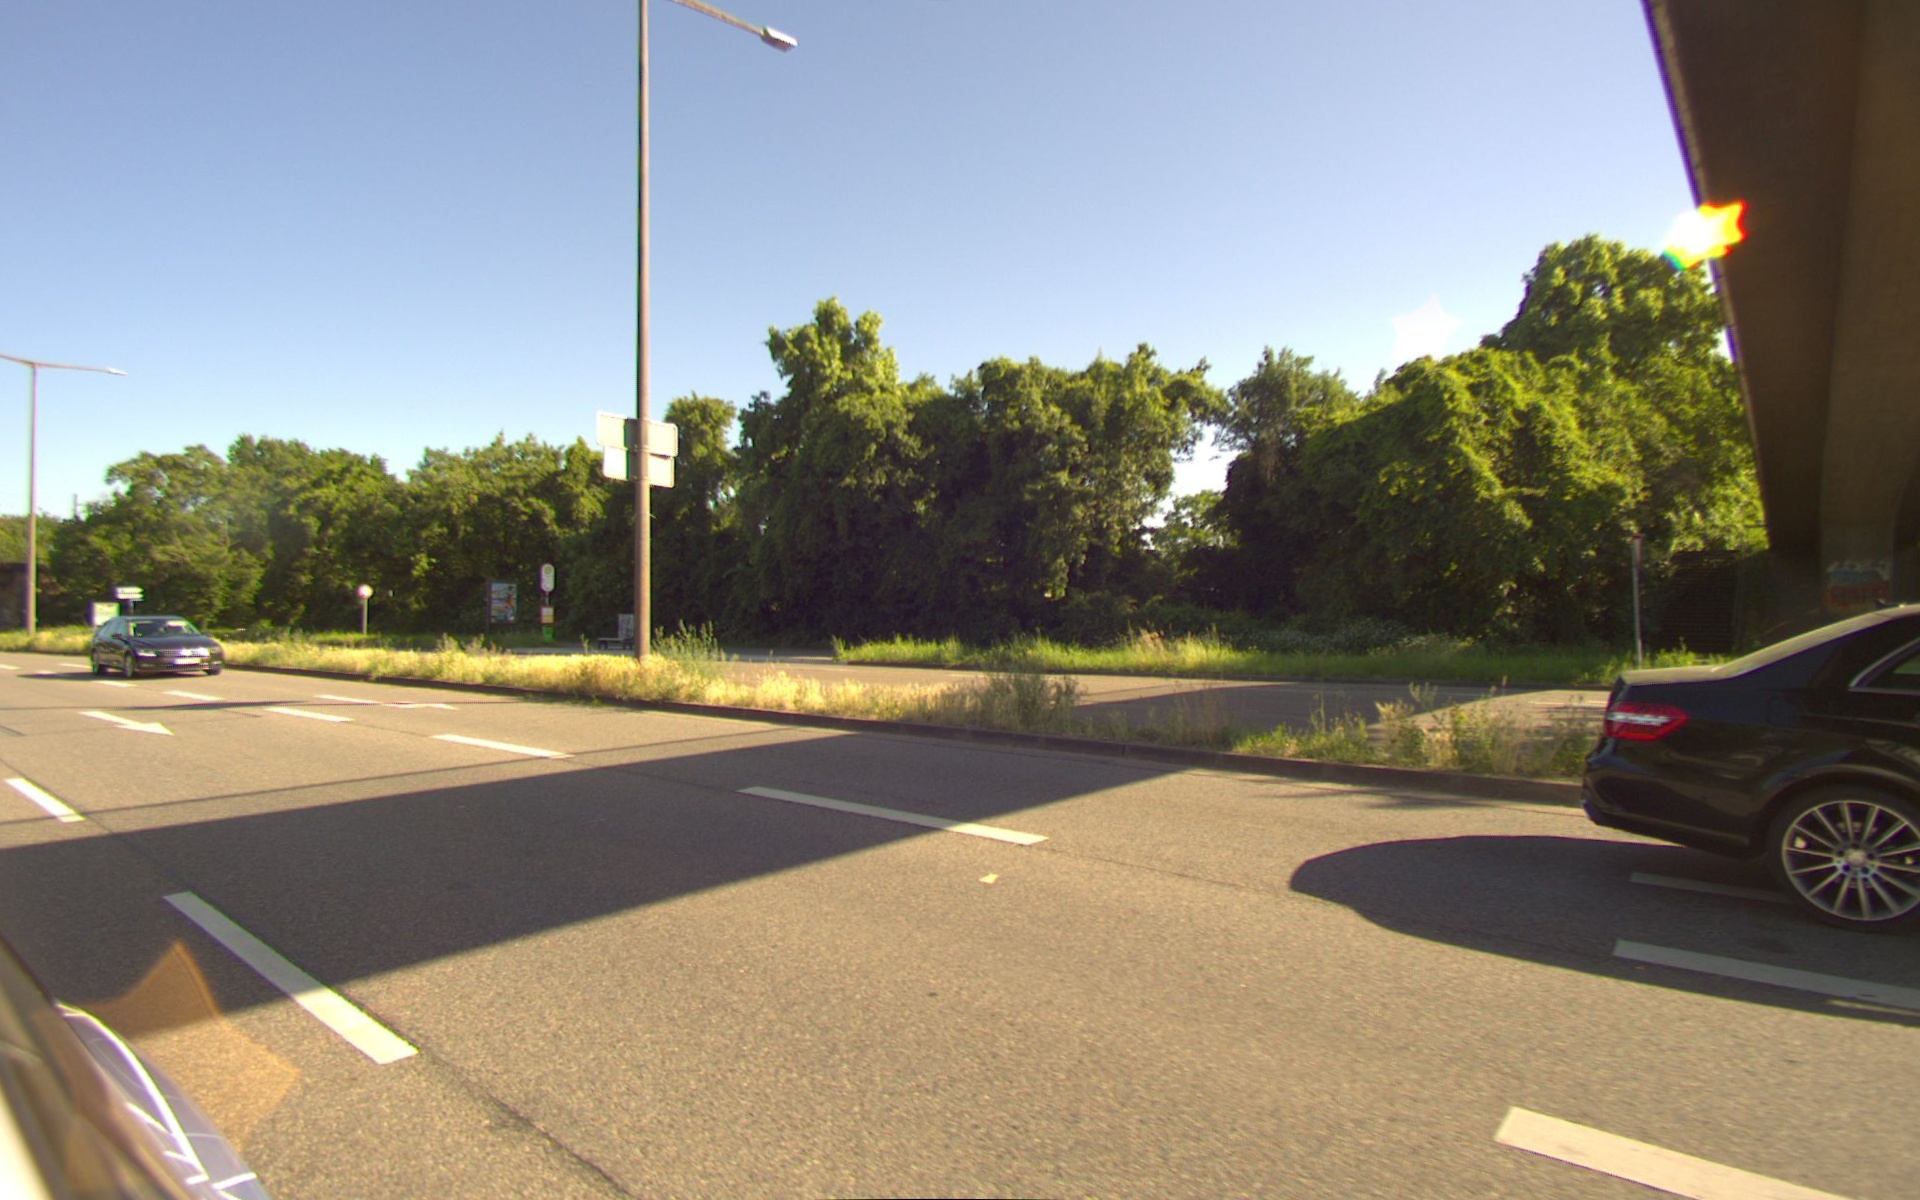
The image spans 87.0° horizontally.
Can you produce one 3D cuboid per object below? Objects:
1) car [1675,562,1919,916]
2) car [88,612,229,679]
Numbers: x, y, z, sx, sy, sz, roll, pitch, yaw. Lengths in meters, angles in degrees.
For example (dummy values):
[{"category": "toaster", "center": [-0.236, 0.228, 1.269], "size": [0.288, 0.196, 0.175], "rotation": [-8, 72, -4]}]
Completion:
[{"category": "car", "center": [5.698, 0.541, 3.983], "size": [4.528, 1.498, 1.755], "rotation": [-2, 0, 42]}, {"category": "car", "center": [-19.785, 1.082, 24.928], "size": [3.994, 1.507, 1.774], "rotation": [-2, -1, 37]}]
